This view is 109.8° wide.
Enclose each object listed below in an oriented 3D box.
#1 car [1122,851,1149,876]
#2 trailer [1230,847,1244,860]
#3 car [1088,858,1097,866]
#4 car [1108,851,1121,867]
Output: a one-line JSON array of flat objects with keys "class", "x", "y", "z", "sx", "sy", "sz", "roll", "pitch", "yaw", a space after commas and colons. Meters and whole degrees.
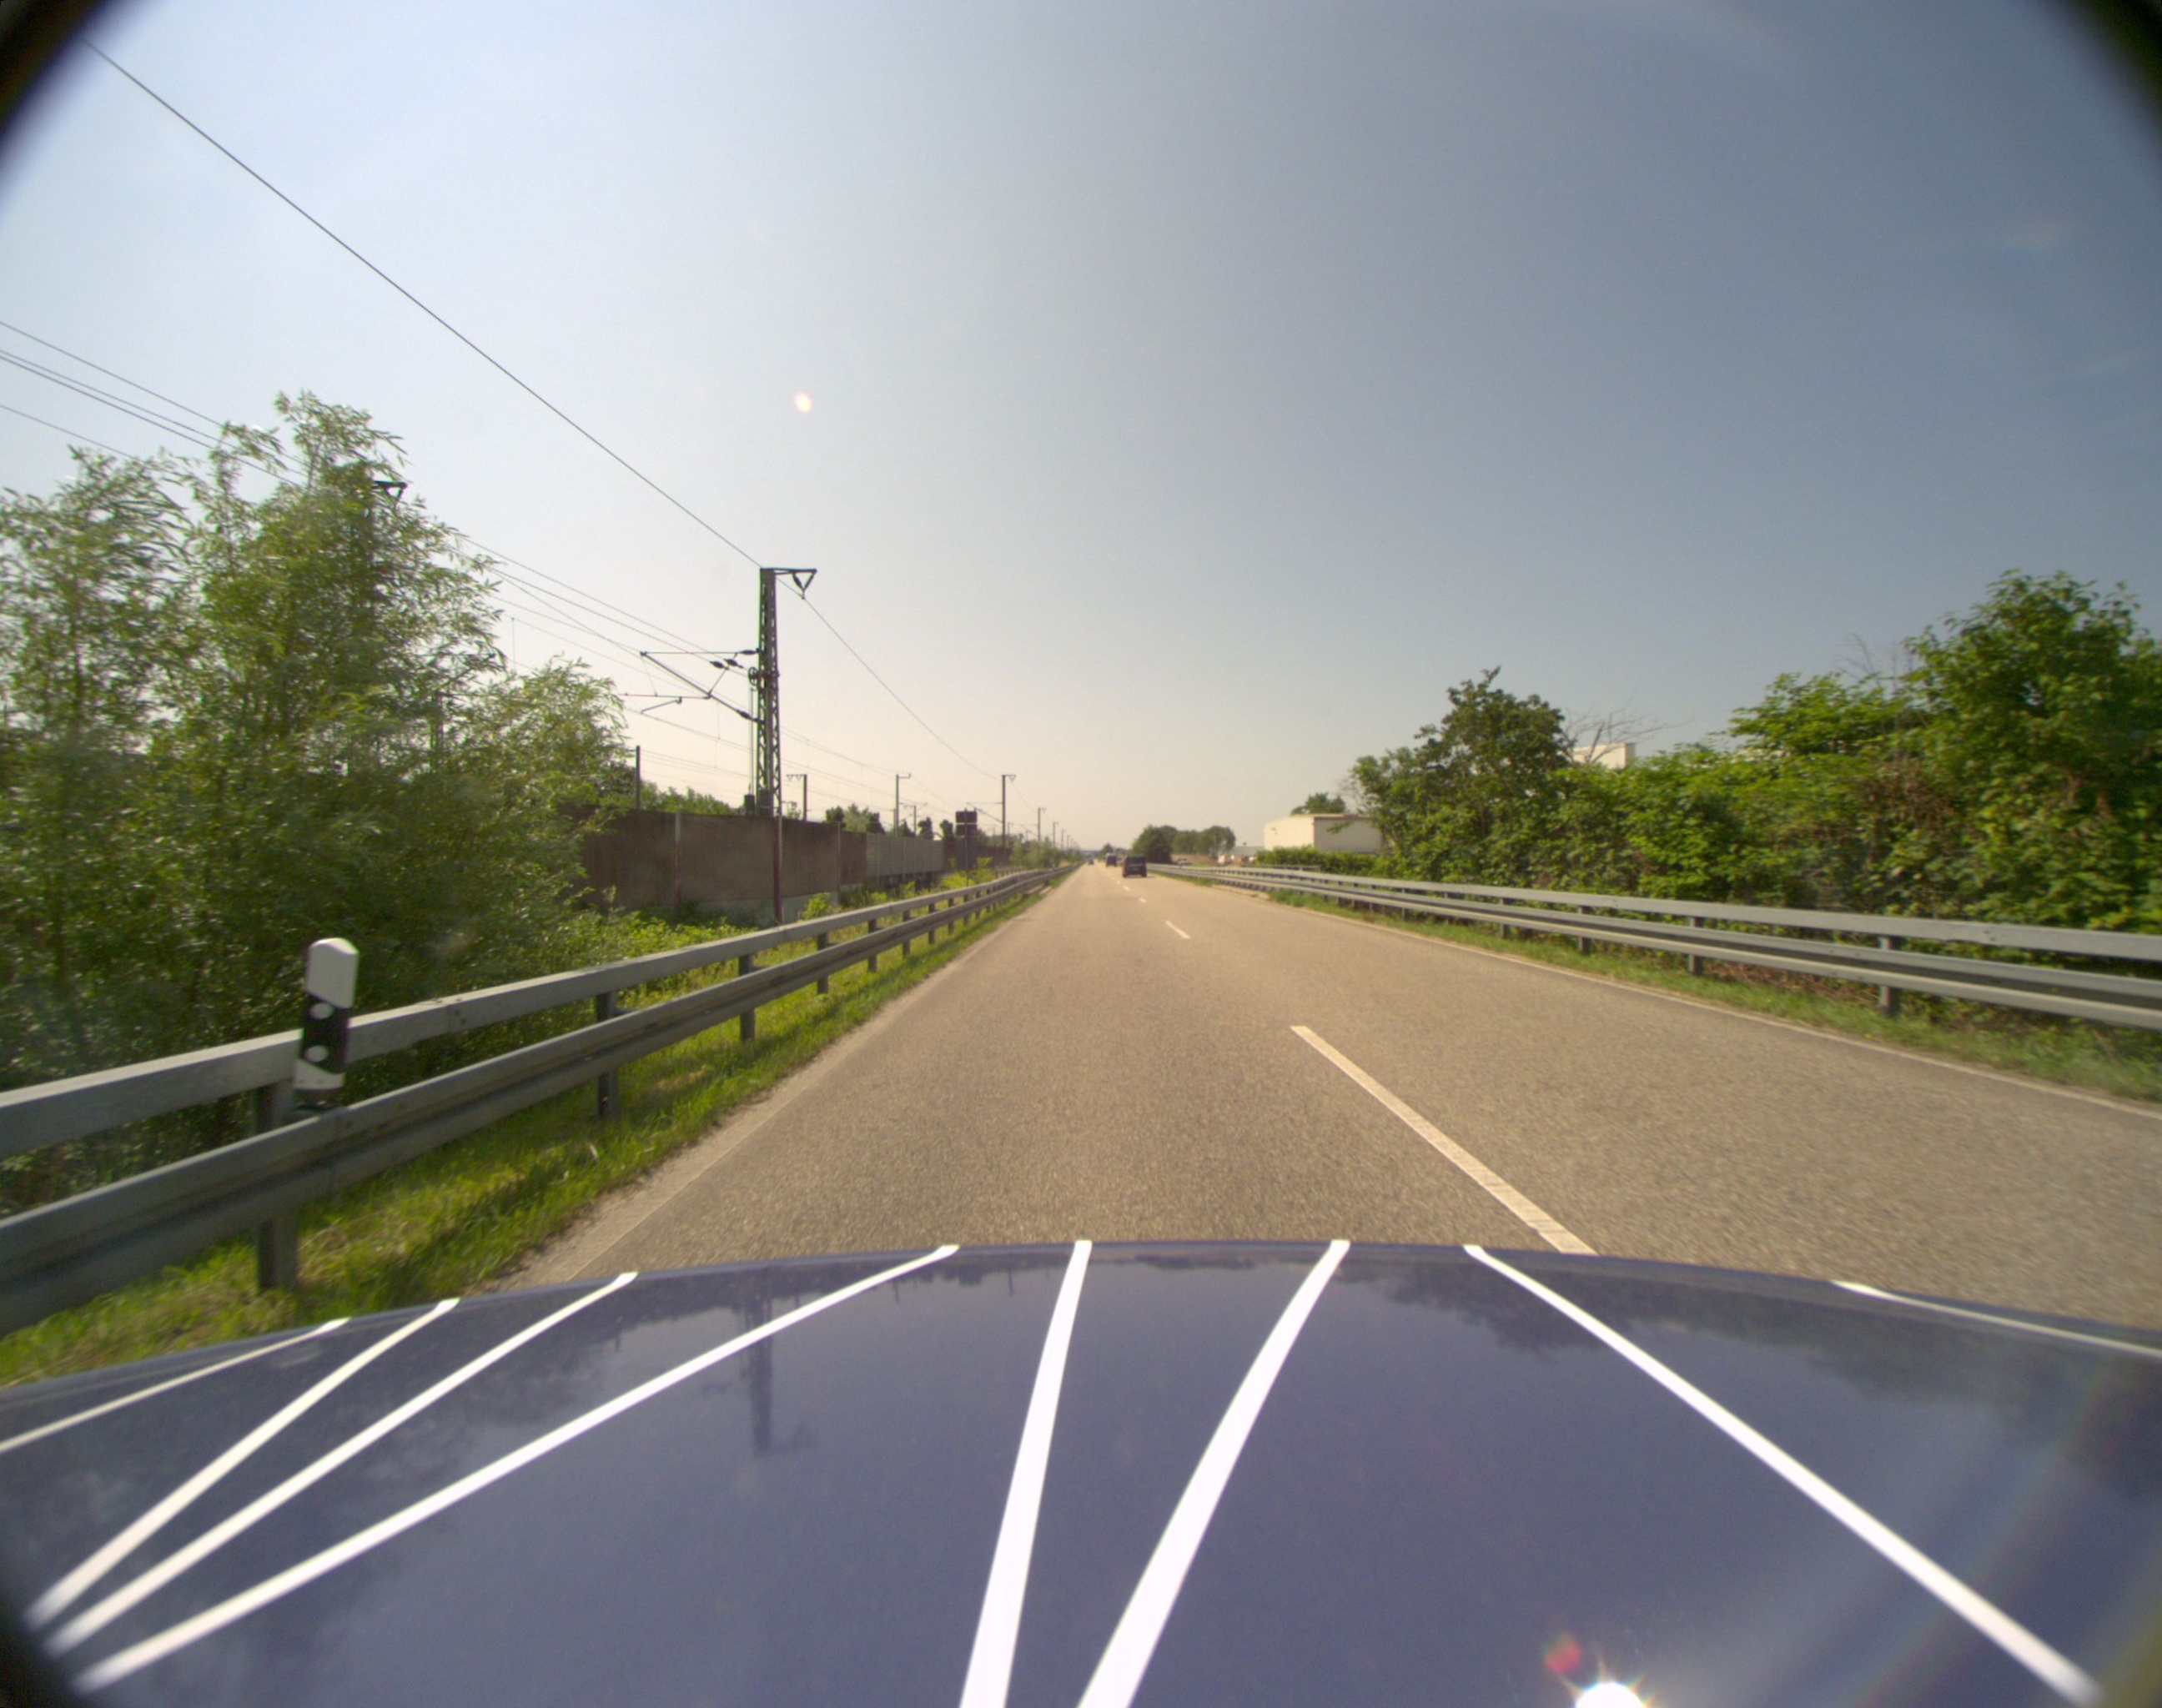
[{"class": "car", "x": 4.576, "y": 0.762, "z": 64.438, "sx": 1.898, "sy": 2.002, "sz": 5.369, "roll": -2, "pitch": 0, "yaw": 0}, {"class": "trailer", "x": 52.682, "y": -0.130, "z": 256.431, "sx": 2.862, "sy": 4.194, "sz": 7.538, "roll": -2, "pitch": -1, "yaw": -2}, {"class": "car", "x": 3.102, "y": 2.143, "z": 205.296, "sx": 1.999, "sy": 2.002, "sz": 3.999, "roll": -2, "pitch": 0, "yaw": -1}, {"class": "car", "x": 6.448, "y": 0.960, "z": 145.291, "sx": 2.084, "sy": 2.945, "sz": 6.729, "roll": -3, "pitch": 0, "yaw": 1}]
